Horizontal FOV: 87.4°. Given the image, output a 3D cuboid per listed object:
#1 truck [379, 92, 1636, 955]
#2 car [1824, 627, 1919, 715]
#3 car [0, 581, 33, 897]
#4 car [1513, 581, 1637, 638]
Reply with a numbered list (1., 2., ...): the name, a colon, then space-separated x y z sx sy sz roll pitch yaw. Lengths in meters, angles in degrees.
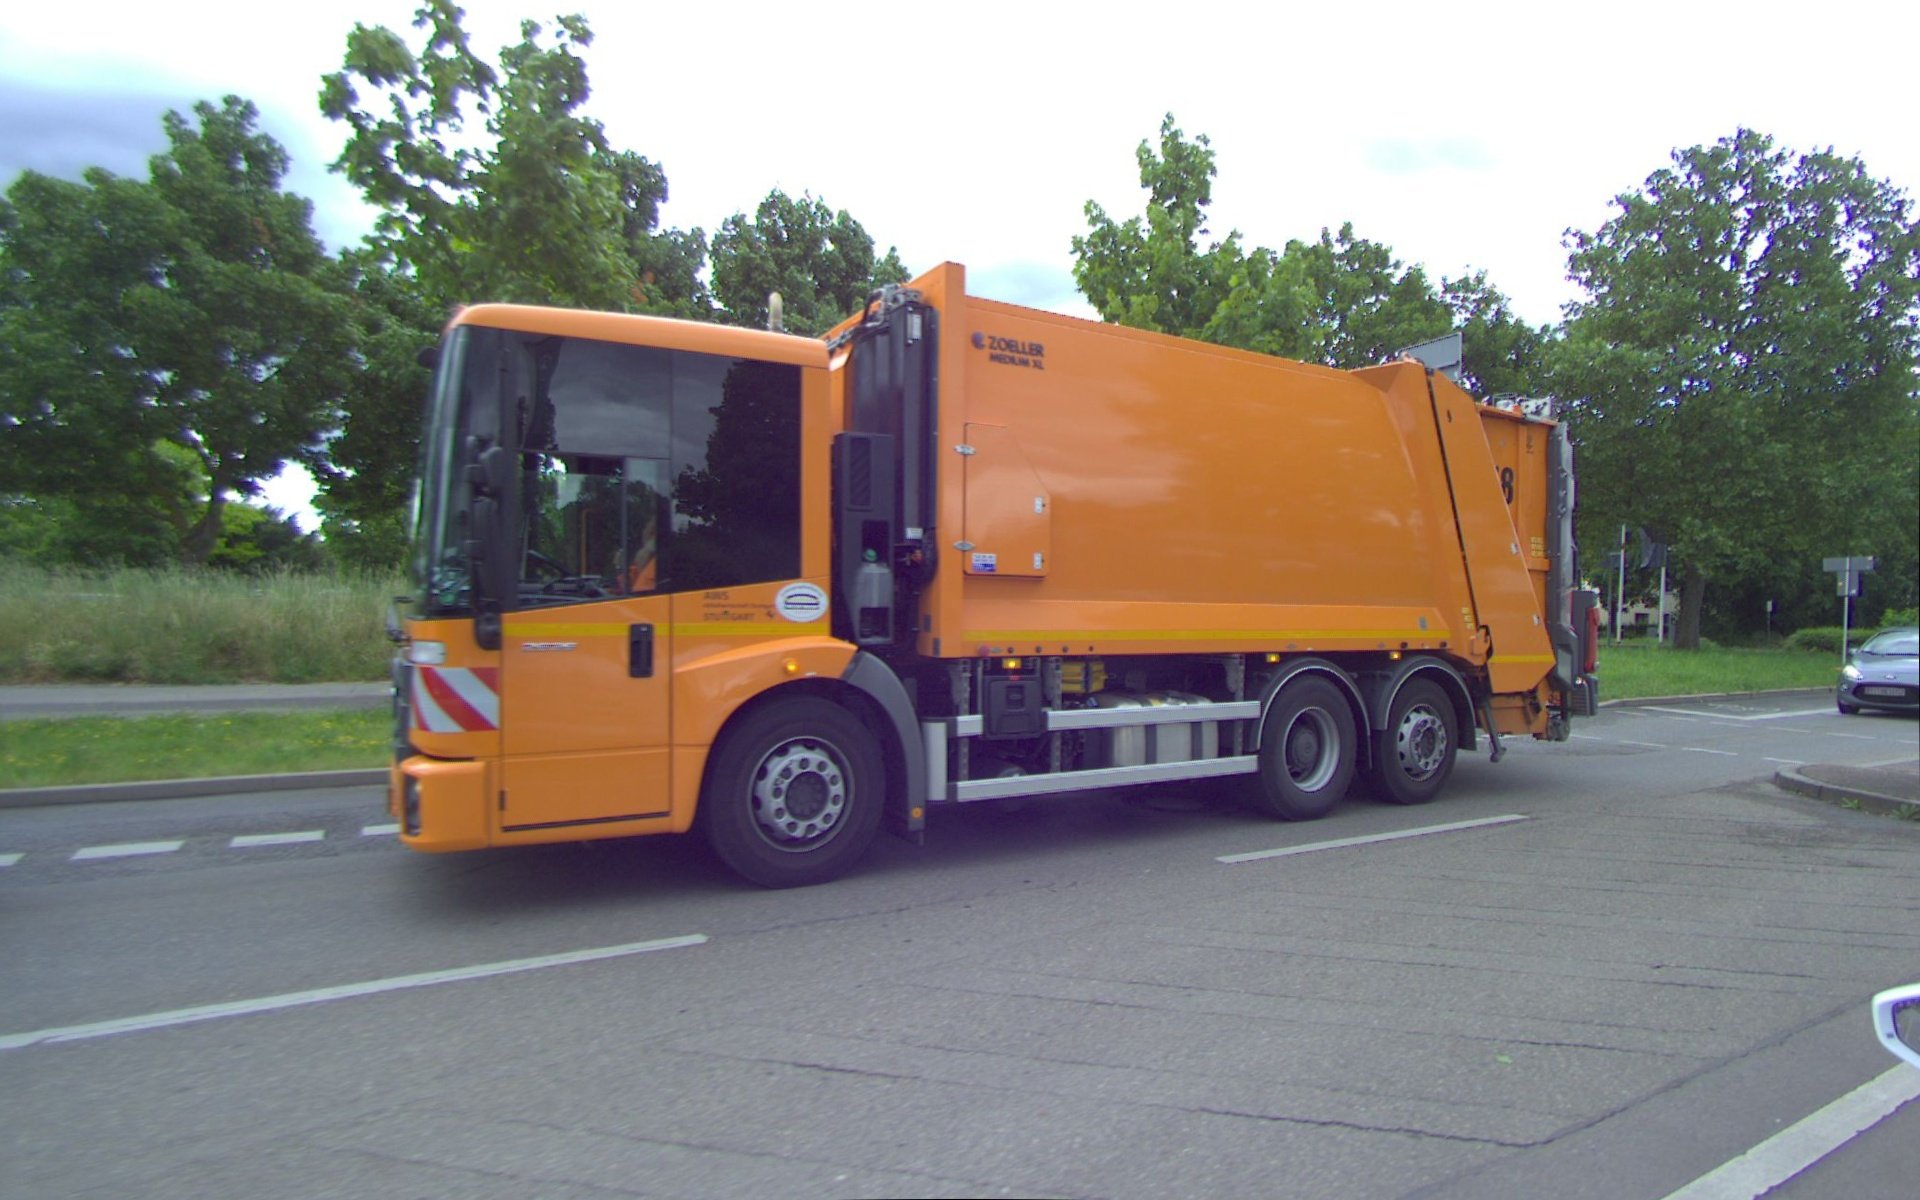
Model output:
1. truck: 1.207 -0.277 7.822 9.878 3.534 2.692 1 1 -31
2. car: 16.184 1.138 16.858 3.612 1.348 1.539 1 -1 -32
3. car: -6.035 0.640 3.527 3.850 1.477 1.426 1 1 -31
4. car: 30.947 0.437 50.713 1.980 2.698 4.935 1 0 -34
